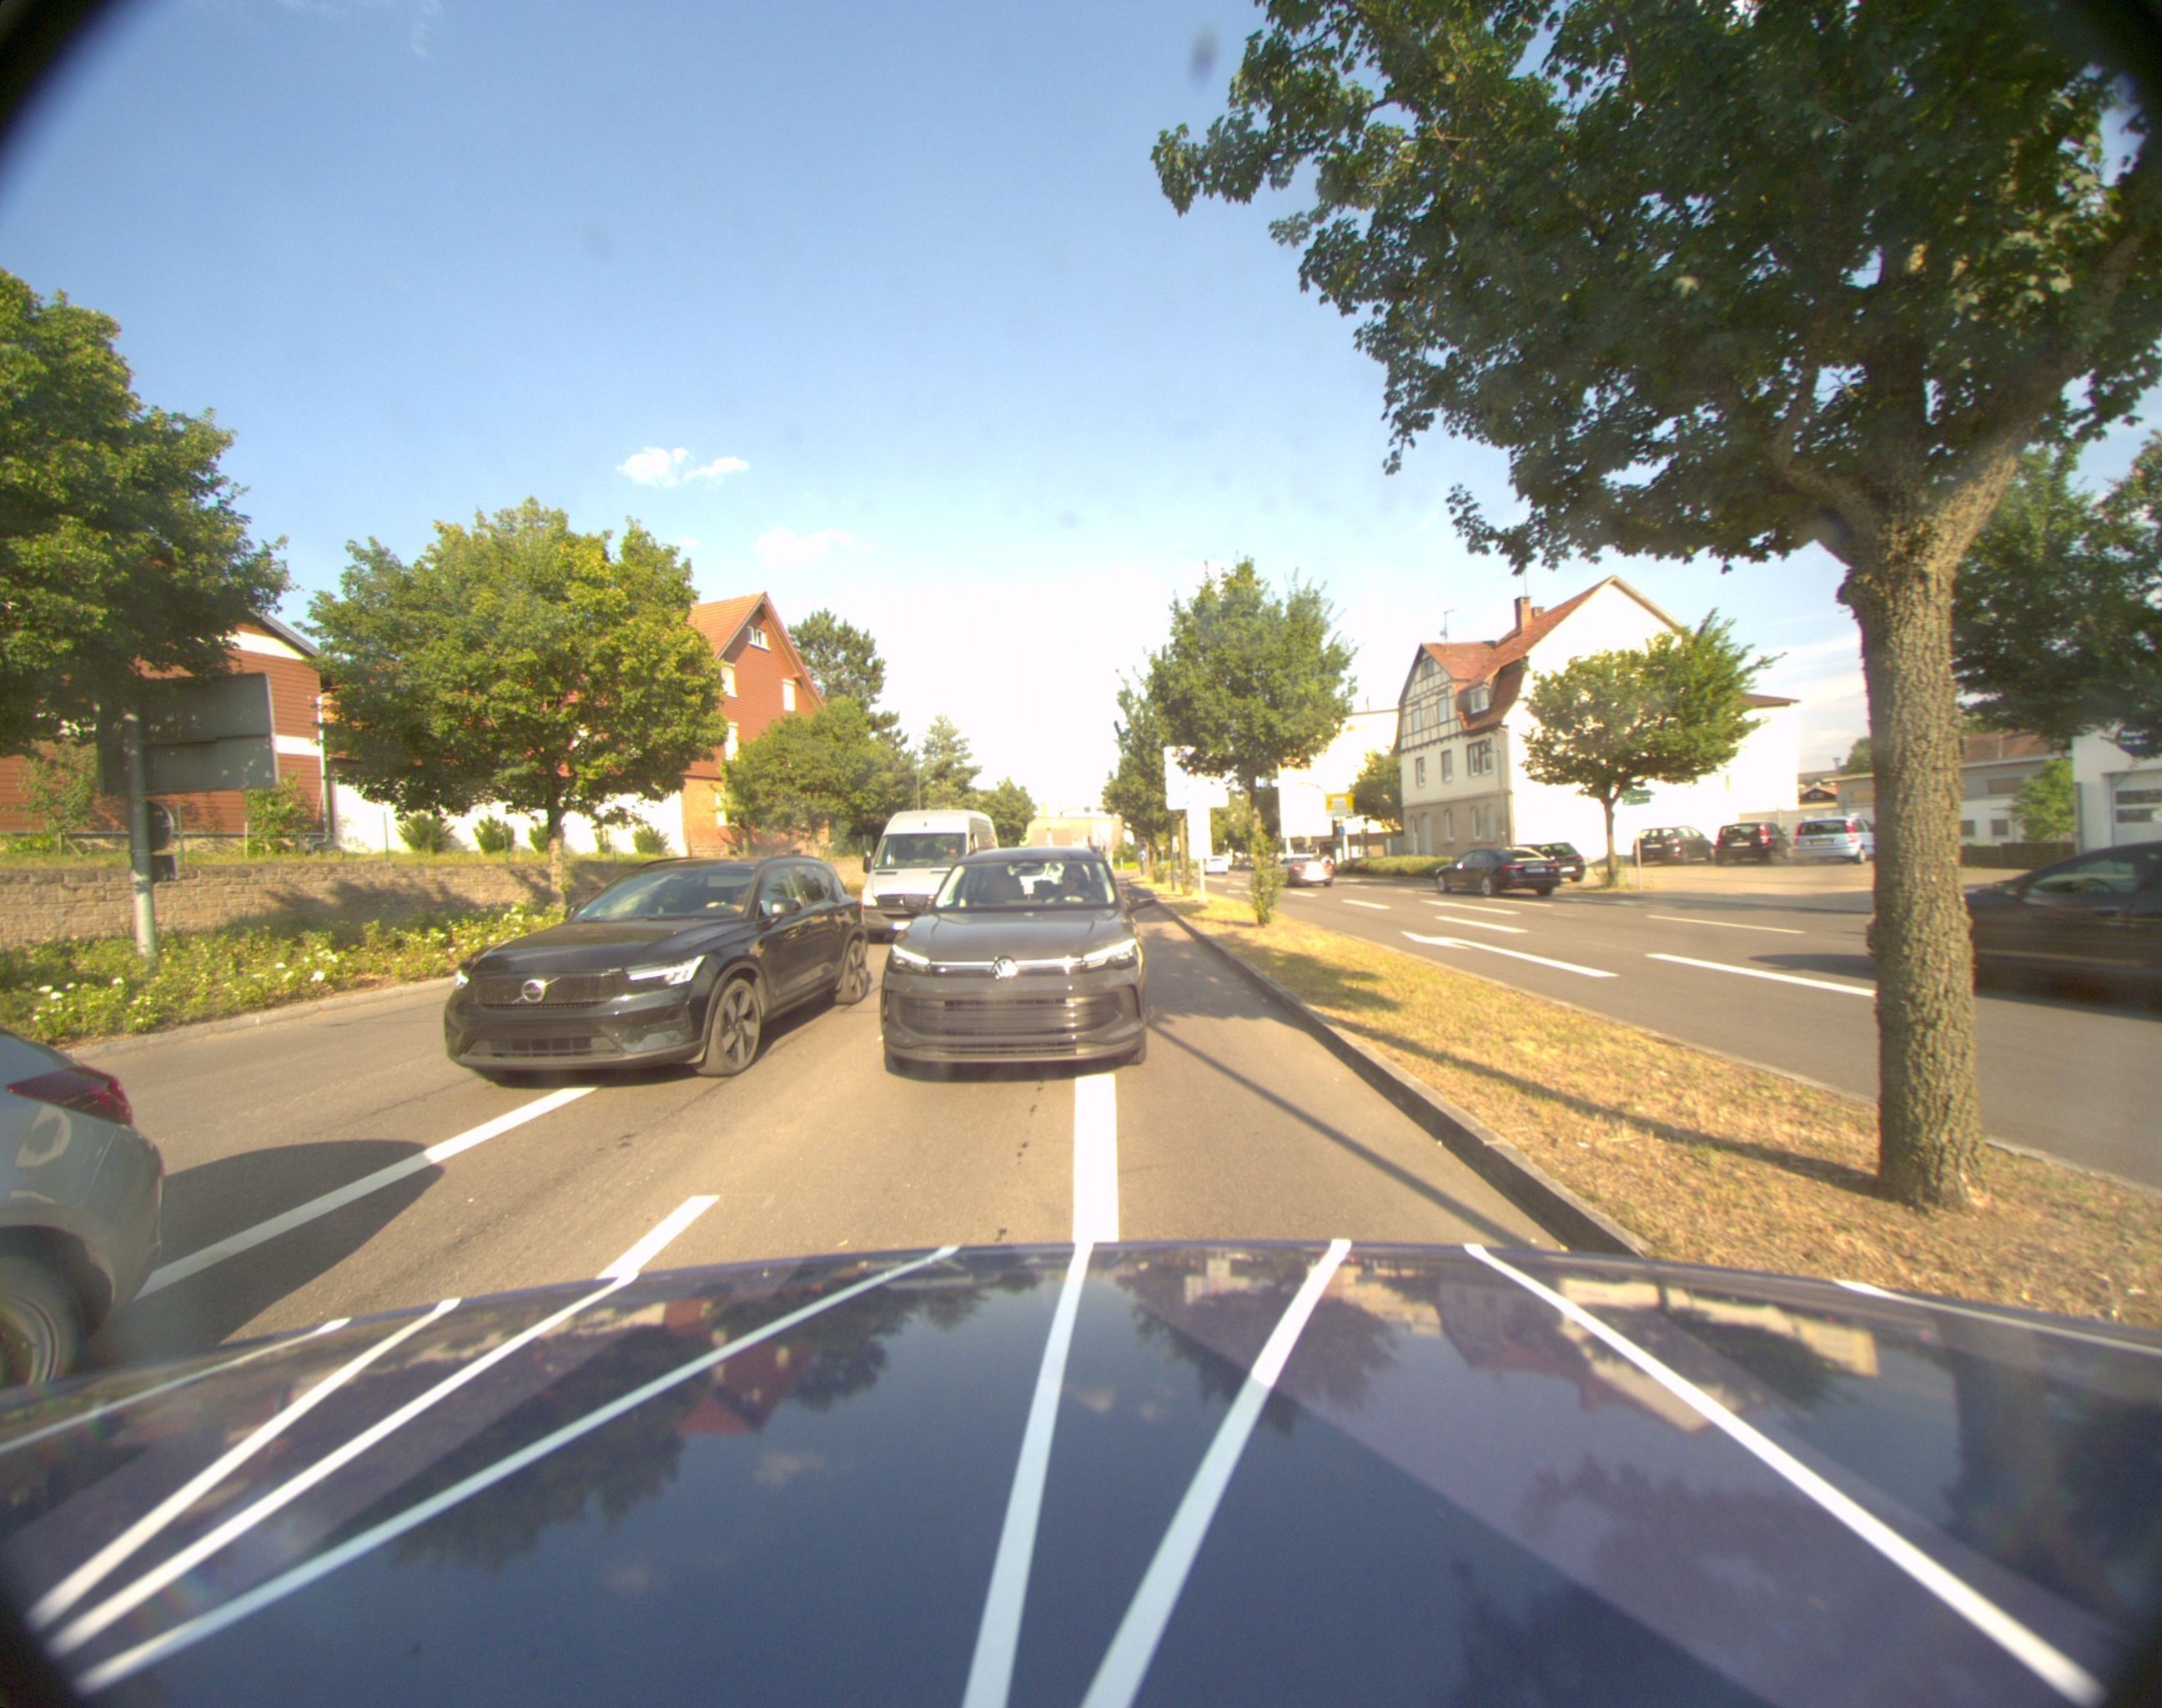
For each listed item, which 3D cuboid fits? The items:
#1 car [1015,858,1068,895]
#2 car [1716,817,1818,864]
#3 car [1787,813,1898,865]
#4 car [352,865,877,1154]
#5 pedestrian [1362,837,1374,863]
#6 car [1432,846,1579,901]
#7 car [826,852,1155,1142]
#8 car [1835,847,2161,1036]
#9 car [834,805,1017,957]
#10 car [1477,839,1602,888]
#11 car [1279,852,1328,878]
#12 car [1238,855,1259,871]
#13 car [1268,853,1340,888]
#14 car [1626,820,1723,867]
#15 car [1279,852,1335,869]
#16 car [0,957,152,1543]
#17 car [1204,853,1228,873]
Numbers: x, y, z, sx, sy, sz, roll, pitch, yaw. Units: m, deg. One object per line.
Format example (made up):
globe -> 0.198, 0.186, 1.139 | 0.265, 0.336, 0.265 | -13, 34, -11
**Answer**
car -> -1.624, 0.916, 32.691 | 1.765, 1.346, 4.132 | -2, 0, 4
car -> 24.893, -0.495, 27.561 | 4.006, 1.543, 1.763 | -2, 1, -33
car -> 24.968, -0.493, 24.887 | 4.006, 1.543, 1.763 | -2, 1, -33
car -> -3.361, 0.972, 6.625 | 1.886, 1.599, 4.128 | -2, 0, 2
pedestrian -> 22.391, -0.298, 59.233 | 0.698, 1.971, 0.589 | -2, 1, 40
car -> 12.506, 0.512, 22.782 | 1.848, 1.413, 4.644 | -2, 0, 1
car -> -0.481, 0.848, 6.869 | 1.894, 1.647, 4.730 | -2, 0, 1
car -> 9.005, 0.662, 6.120 | 1.649, 1.378, 4.189 | -2, 0, -1
car -> -2.939, 0.444, 16.151 | 2.370, 2.532, 6.192 | -2, 0, 2
car -> 15.997, 0.304, 26.797 | 1.839, 1.435, 4.195 | -5, 0, 1
car -> 13.554, 0.626, 46.616 | 1.690, 1.454, 4.711 | -2, 0, 1
car -> 17.292, 0.903, 78.603 | 1.810, 1.488, 4.248 | -2, 0, 10
car -> 9.603, 0.678, 33.098 | 1.785, 1.341, 4.478 | -2, 0, 0
car -> 23.347, -0.408, 29.865 | 4.006, 1.543, 1.764 | -4, 1, -33
car -> 20.548, 0.543, 69.297 | 4.660, 1.346, 1.768 | -2, 1, 9
car -> -3.623, 1.058, 0.127 | 1.748, 1.433, 4.166 | -2, 0, 0
car -> 11.262, 0.720, 63.542 | 1.804, 1.488, 3.957 | -2, 0, 8
